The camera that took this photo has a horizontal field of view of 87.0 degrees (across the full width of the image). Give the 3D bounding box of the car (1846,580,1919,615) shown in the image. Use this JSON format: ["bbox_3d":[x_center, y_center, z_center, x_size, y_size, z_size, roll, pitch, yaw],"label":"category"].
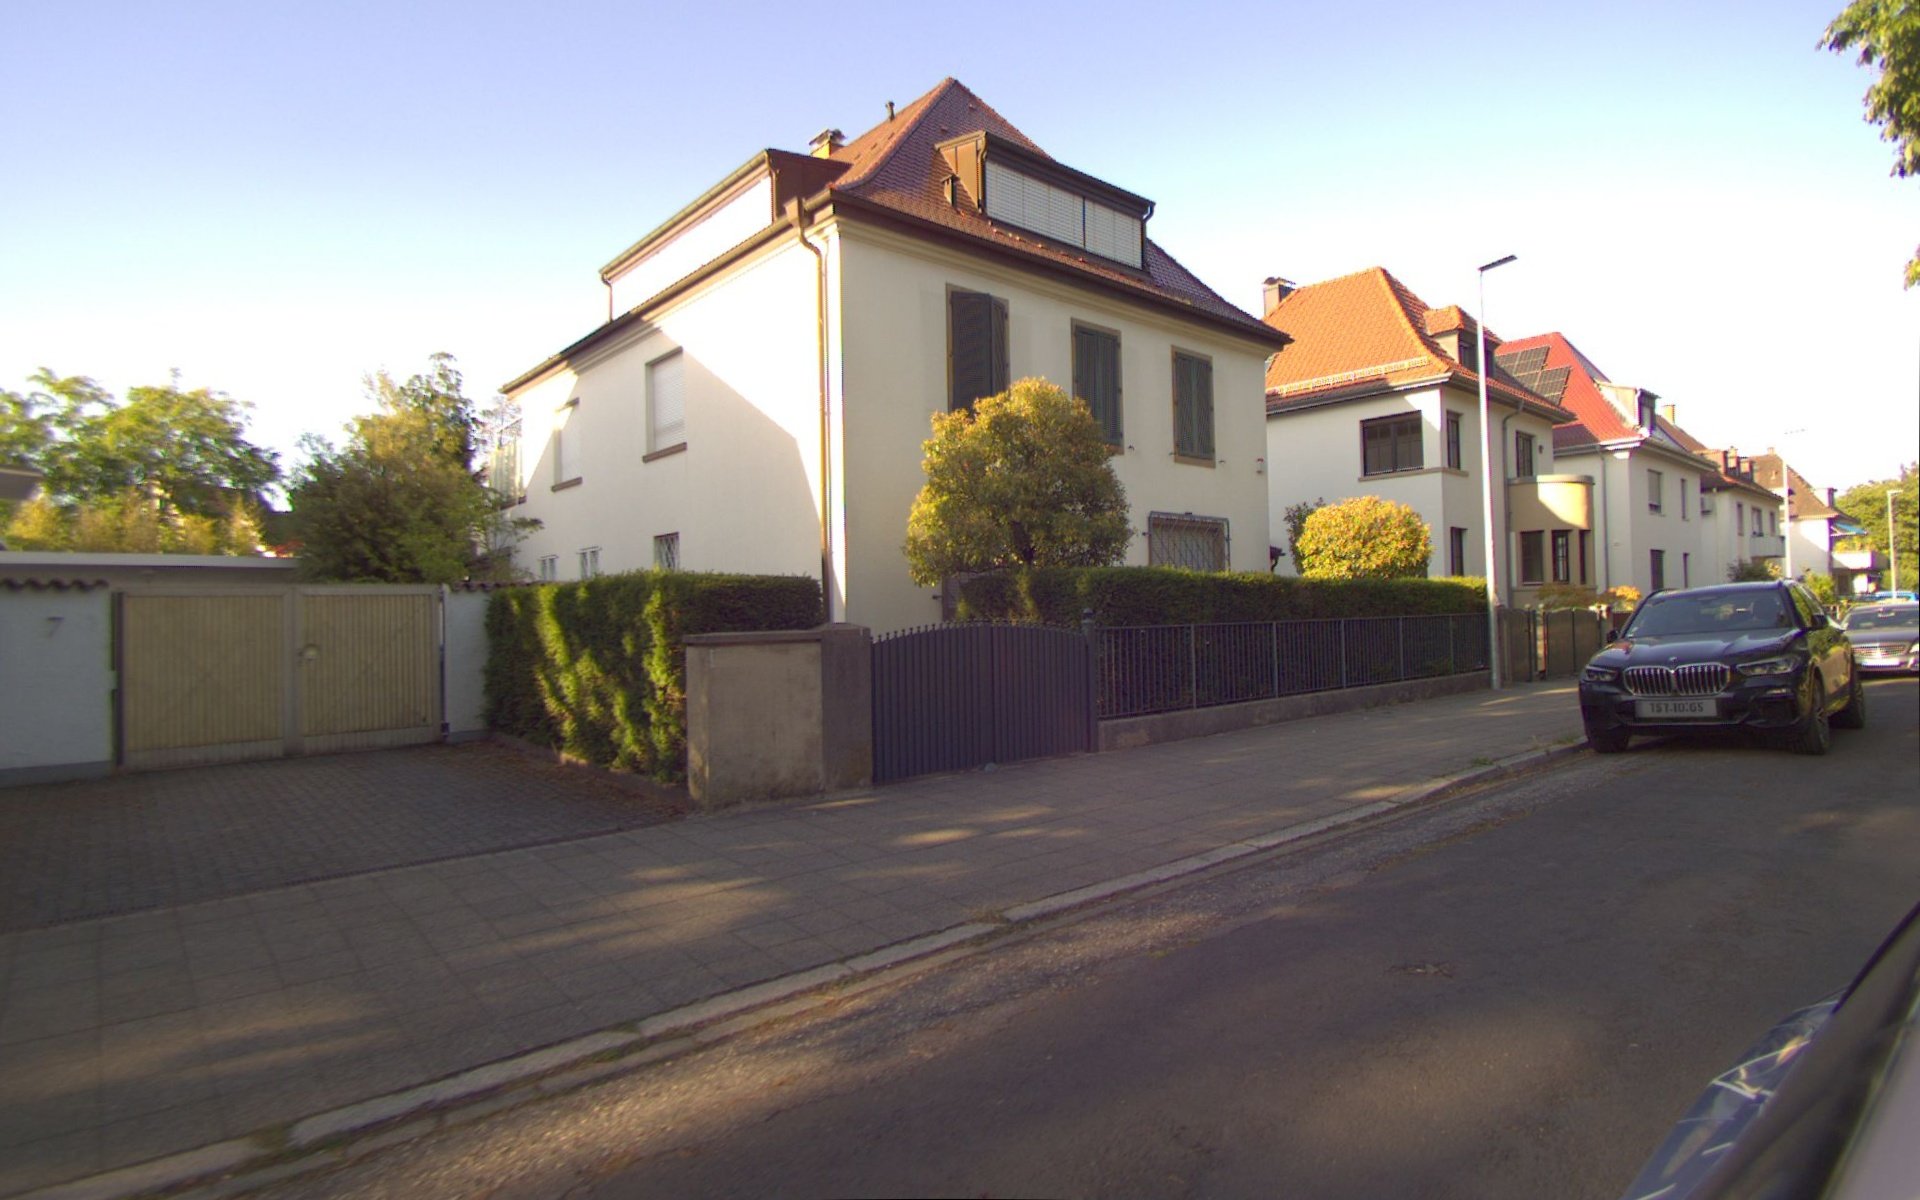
[{"bbox_3d":[55.931,-0.161,60.751,1.967,1.953,3.988,-1,-1,-44],"label":"car"}]

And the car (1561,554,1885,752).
[{"bbox_3d":[8.705,0.502,11.370,4.782,1.760,1.995,-1,-3,-43],"label":"car"}]

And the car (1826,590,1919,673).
[{"bbox_3d":[19.061,0.556,20.376,4.515,1.482,1.781,-1,-4,-42],"label":"car"}]

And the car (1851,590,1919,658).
[{"bbox_3d":[23.377,0.512,24.693,4.475,1.483,1.994,-1,-5,-44],"label":"car"}]
